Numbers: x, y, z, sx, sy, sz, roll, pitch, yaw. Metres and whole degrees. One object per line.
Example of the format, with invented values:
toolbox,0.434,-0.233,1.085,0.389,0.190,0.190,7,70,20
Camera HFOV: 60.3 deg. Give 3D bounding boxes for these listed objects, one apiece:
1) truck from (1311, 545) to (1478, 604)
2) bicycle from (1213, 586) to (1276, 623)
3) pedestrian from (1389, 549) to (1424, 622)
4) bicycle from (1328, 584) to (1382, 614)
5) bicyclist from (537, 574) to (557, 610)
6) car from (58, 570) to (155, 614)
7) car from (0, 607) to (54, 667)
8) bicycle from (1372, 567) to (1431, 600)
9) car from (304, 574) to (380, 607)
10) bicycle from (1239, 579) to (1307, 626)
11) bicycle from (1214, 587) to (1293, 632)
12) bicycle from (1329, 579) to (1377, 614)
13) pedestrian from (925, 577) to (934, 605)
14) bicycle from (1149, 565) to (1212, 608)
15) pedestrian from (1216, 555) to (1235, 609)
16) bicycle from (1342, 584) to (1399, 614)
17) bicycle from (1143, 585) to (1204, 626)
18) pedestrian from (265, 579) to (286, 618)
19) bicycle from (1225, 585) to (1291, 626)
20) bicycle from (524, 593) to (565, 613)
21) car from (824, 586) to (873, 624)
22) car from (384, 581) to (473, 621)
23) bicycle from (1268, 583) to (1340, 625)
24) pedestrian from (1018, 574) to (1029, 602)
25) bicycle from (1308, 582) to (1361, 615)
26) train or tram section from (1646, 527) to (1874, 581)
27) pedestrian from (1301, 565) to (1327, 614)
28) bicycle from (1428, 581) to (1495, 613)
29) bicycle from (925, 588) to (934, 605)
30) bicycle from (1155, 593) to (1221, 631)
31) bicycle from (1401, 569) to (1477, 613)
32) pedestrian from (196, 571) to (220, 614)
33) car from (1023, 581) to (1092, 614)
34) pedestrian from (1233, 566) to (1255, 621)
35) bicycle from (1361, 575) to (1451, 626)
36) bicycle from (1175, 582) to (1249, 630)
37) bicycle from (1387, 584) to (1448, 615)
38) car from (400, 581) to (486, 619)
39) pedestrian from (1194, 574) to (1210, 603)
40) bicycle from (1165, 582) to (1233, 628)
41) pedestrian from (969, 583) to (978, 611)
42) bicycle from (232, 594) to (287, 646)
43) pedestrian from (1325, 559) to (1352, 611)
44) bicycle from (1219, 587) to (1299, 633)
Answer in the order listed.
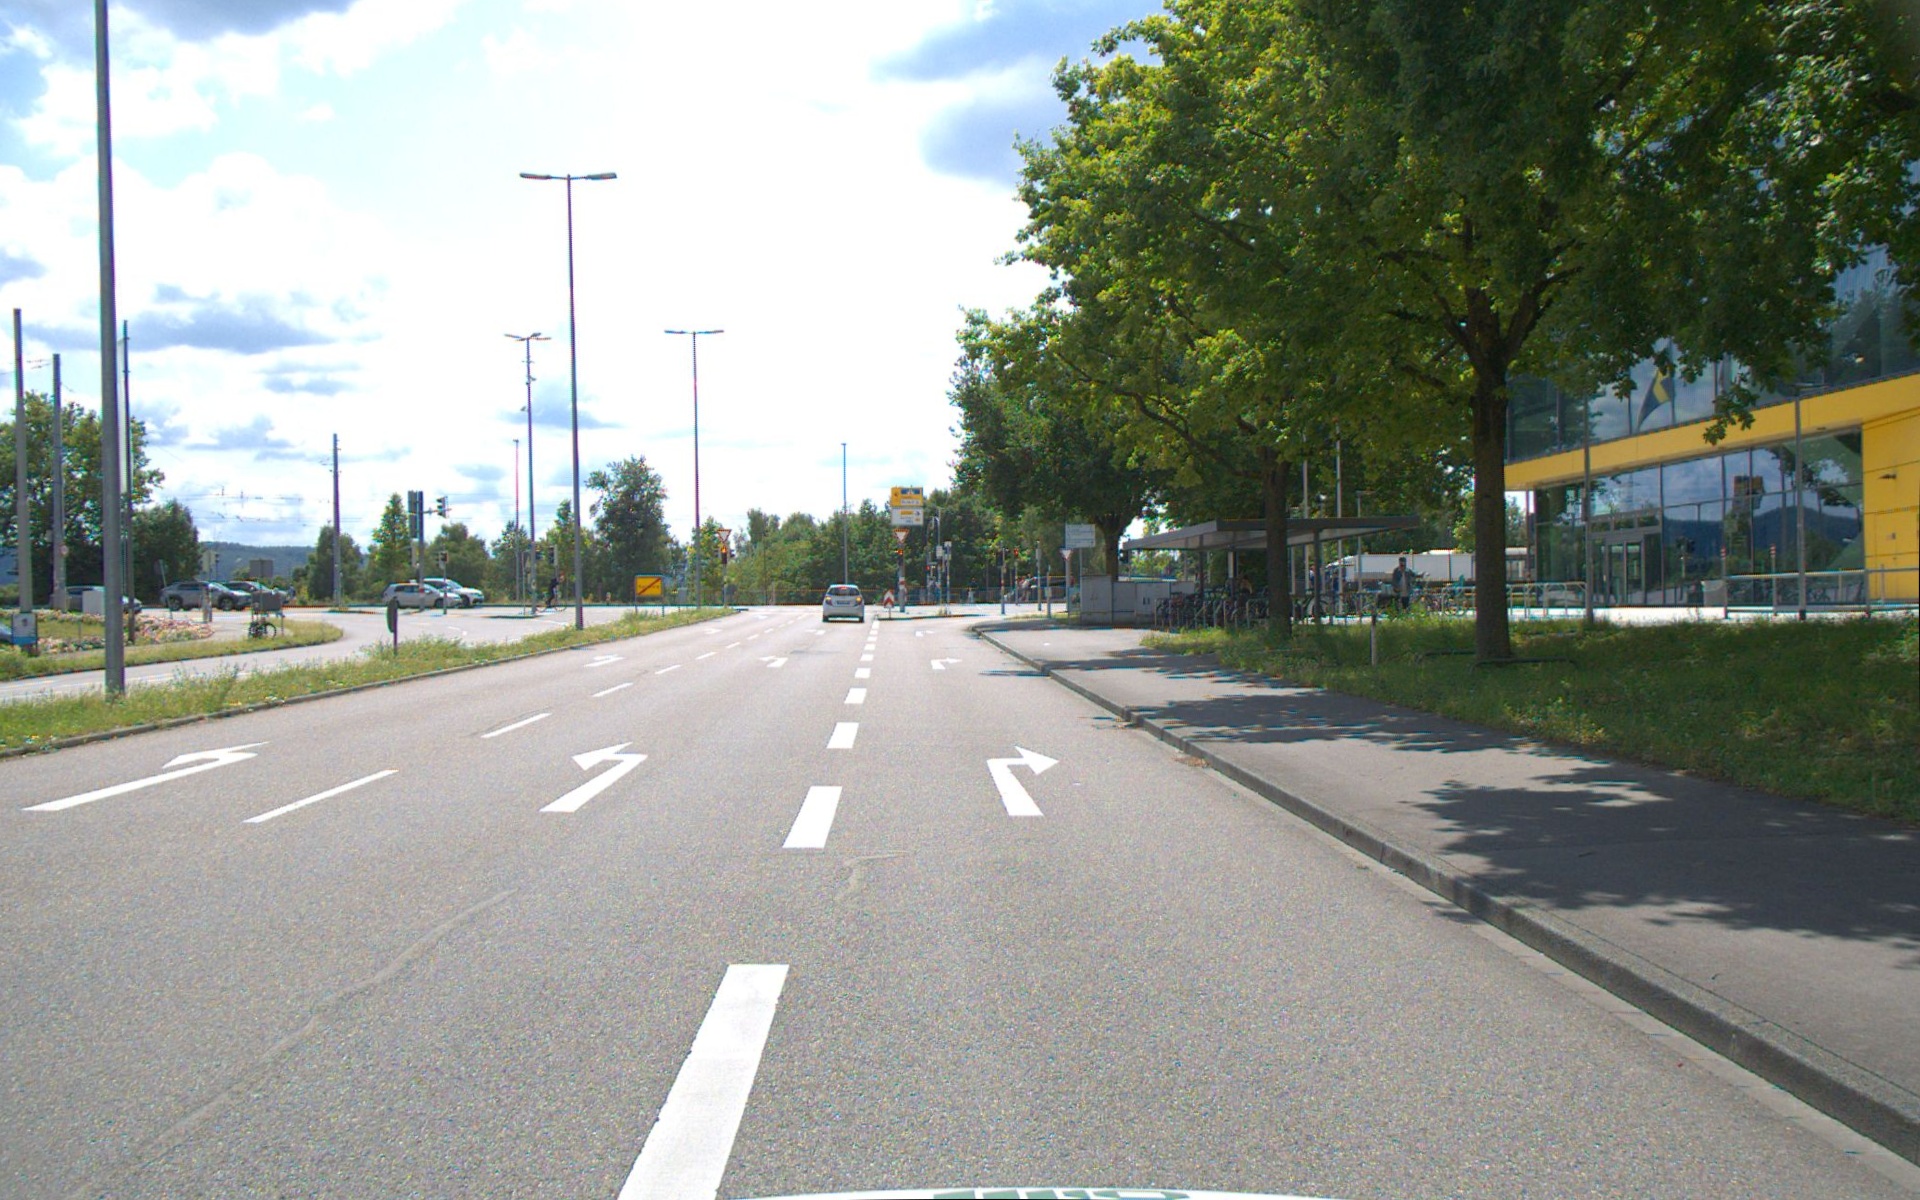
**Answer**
truck,32.485,-1.904,123.774,11.718,4.176,2.951,-1,0,-2
bicycle,8.677,0.127,50.549,1.824,1.052,0.424,-2,0,-1
pedestrian,10.846,-0.347,40.184,0.621,1.752,0.523,-3,-1,33
bicycle,14.321,-0.039,59.923,1.824,1.012,0.424,-2,0,-1
bicyclist,-21.610,-0.438,86.598,0.902,1.878,0.611,-1,1,-3
car,-42.617,-0.421,82.628,3.902,2.049,2.002,-2,1,14
car,-34.858,1.353,59.092,3.918,2.049,1.993,-2,0,-13
bicycle,14.815,-0.558,55.485,1.827,1.012,0.423,-3,-1,-7
car,-39.988,-0.629,107.128,4.272,2.024,1.994,-2,0,-12
bicycle,8.846,0.066,46.765,1.827,1.253,0.423,-2,0,-7
bicycle,7.265,0.236,40.967,1.827,1.012,0.423,-3,0,-7
bicycle,13.989,-0.117,58.875,1.650,1.177,0.459,-2,0,-17
pedestrian,-1.996,-0.604,108.582,0.598,1.799,0.672,-1,0,-1
bicycle,6.695,-0.409,50.225,1.827,1.208,0.423,-2,0,-7
pedestrian,8.399,-0.566,52.288,0.532,1.691,0.546,-1,1,8
bicycle,14.200,-0.035,57.222,1.826,1.012,0.464,-1,0,-7
bicycle,6.655,0.179,51.543,1.826,1.208,0.423,-2,0,-7
pedestrian,-32.845,-0.068,79.344,0.787,1.870,0.858,1,-1,-31
bicycle,8.760,0.169,48.637,1.827,1.135,0.423,-2,0,-8
bicycle,-21.744,0.144,86.595,1.977,1.016,0.622,1,0,-3
car,-4.584,0.204,68.319,1.856,1.495,3.832,1,1,-2
car,-29.314,0.055,91.334,4.262,2.024,1.999,-2,0,-3
bicycle,9.298,0.105,44.684,1.827,1.012,0.423,-3,-1,-7
pedestrian,4.151,-0.758,107.616,0.662,1.778,0.637,-1,2,0
bicycle,13.832,-0.050,61.111,1.892,1.127,0.501,-2,-2,-21
train or tram section,51.632,-2.967,106.869,13.783,3.242,3.043,-1,0,-6
pedestrian,14.388,-0.427,67.262,0.986,1.935,0.975,-1,-1,11
bicycle,14.939,-0.095,49.259,1.824,0.897,0.470,-2,0,-2
bicycle,-1.993,-0.238,108.618,0.606,1.106,1.722,-1,1,-1
bicycle,6.628,0.335,48.038,1.827,1.012,0.423,-2,0,-7
bicycle,14.596,-0.283,50.407,2.094,1.251,0.721,-3,0,7
pedestrian,-32.965,-0.338,72.537,0.856,1.870,0.790,1,-1,-31
car,5.937,-0.165,101.129,3.909,1.814,1.908,-2,1,-5
pedestrian,8.787,-0.200,51.233,0.533,1.691,0.478,-1,0,-4
bicycle,10.692,0.017,39.697,1.974,1.127,0.575,-3,0,36
bicycle,6.758,0.166,44.383,1.858,1.190,0.424,-3,0,-1
bicycle,14.604,-0.013,52.812,1.827,0.897,0.423,-3,0,-7
car,-29.335,0.013,93.943,4.262,2.024,1.999,-2,0,-3
pedestrian,15.943,-0.756,108.904,0.908,1.839,0.736,-1,0,-3
bicycle,6.735,0.141,46.610,1.827,1.208,0.423,-2,0,-7
pedestrian,0.843,-0.173,105.647,0.512,1.751,0.730,-2,0,1
bicycle,-23.848,0.665,56.340,0.997,1.704,2.048,-2,1,-2
pedestrian,15.485,-0.603,67.686,0.986,2.108,0.975,-1,-1,12
bicycle,7.317,0.234,40.479,1.827,1.012,0.423,-3,0,-7
